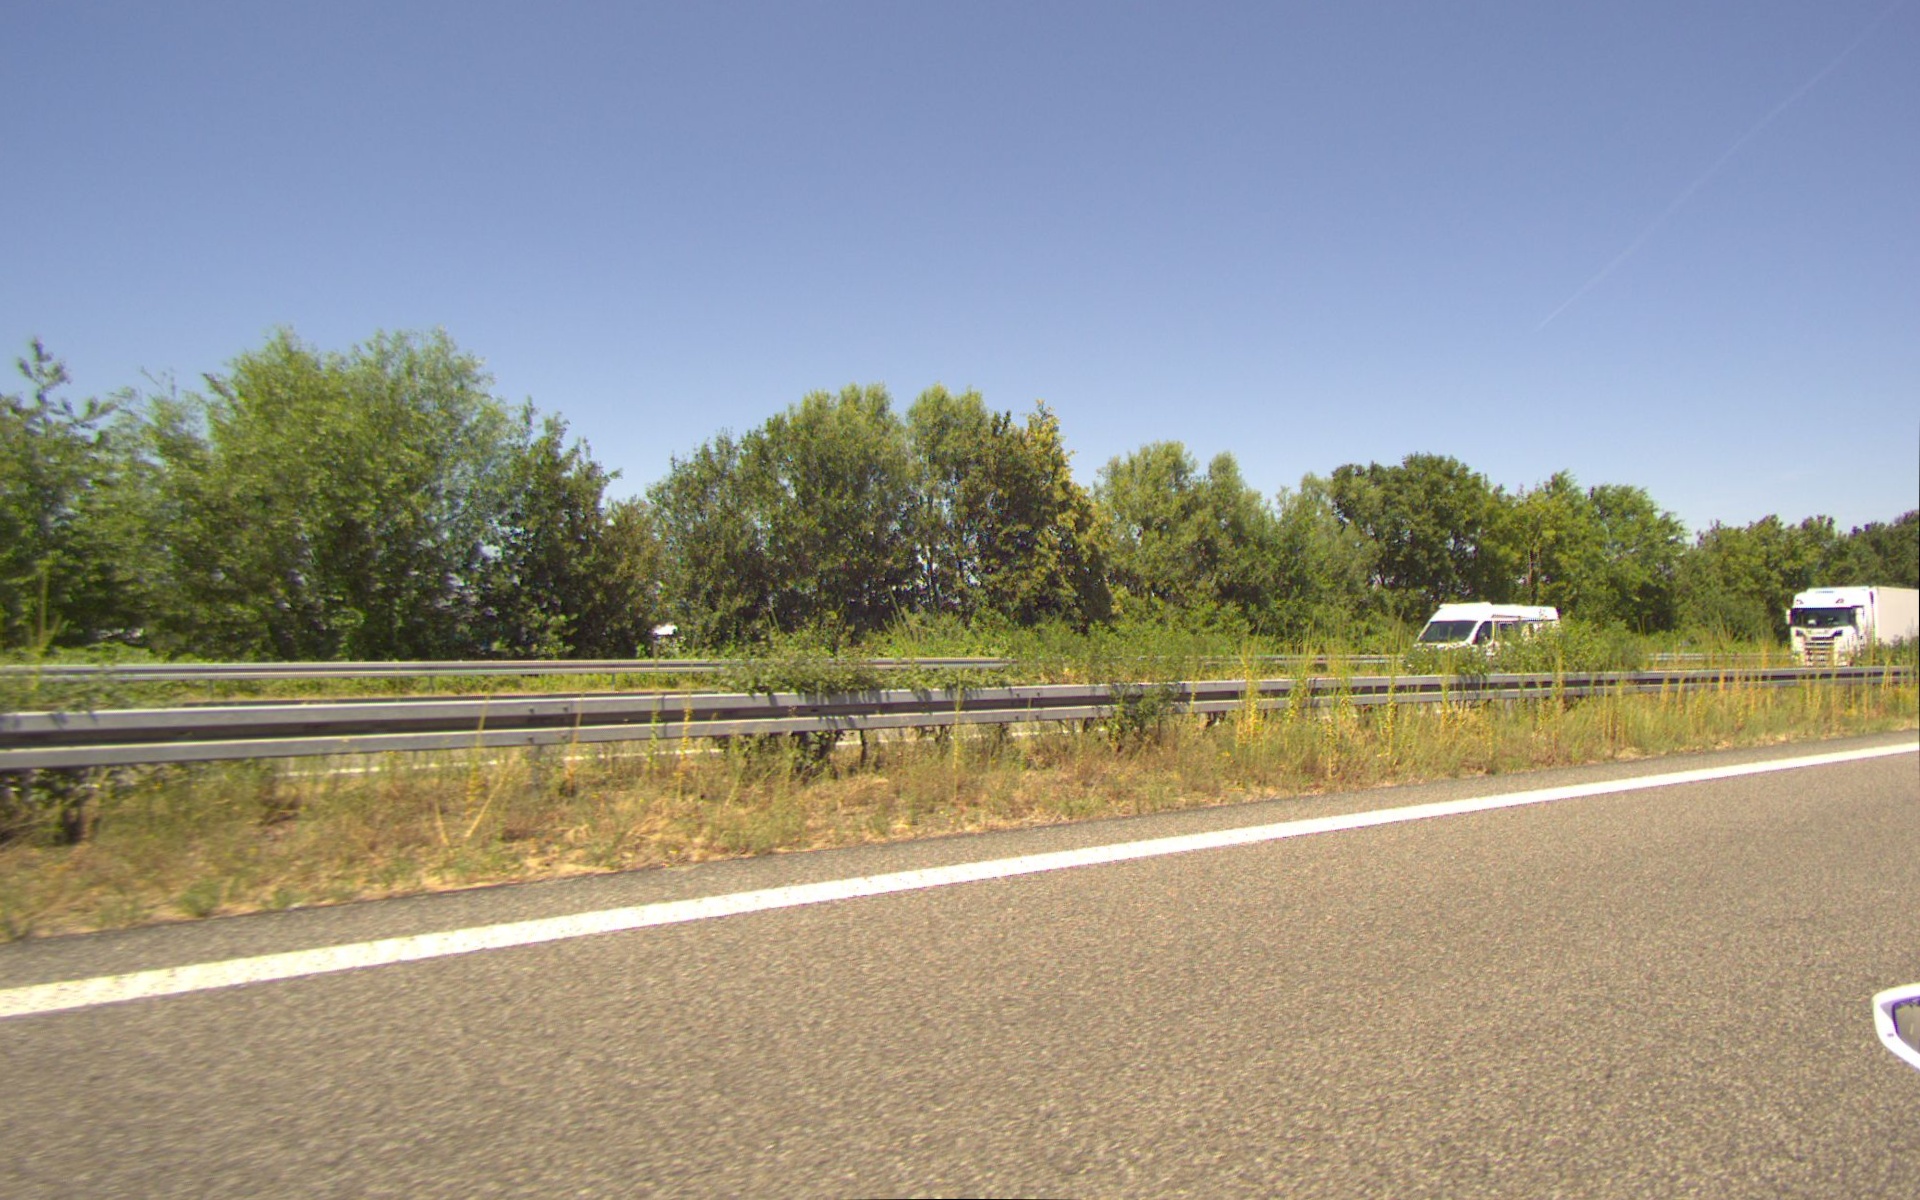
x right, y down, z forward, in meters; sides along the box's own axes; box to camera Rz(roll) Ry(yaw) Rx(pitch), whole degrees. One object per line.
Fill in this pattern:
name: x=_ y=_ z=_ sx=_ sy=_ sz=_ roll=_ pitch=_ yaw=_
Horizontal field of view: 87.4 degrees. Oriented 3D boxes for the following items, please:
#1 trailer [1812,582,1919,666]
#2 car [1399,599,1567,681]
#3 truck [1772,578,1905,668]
trailer: x=49.611 y=1.206 z=53.232 sx=12.090 sy=4.093 sz=3.032 roll=0 pitch=0 yaw=-31
car: x=17.188 y=1.296 z=32.918 sx=5.946 sy=2.496 sz=2.093 roll=1 pitch=-1 yaw=-31
truck: x=43.271 y=1.050 z=49.437 sx=6.450 sy=4.167 sz=3.056 roll=0 pitch=1 yaw=-31
